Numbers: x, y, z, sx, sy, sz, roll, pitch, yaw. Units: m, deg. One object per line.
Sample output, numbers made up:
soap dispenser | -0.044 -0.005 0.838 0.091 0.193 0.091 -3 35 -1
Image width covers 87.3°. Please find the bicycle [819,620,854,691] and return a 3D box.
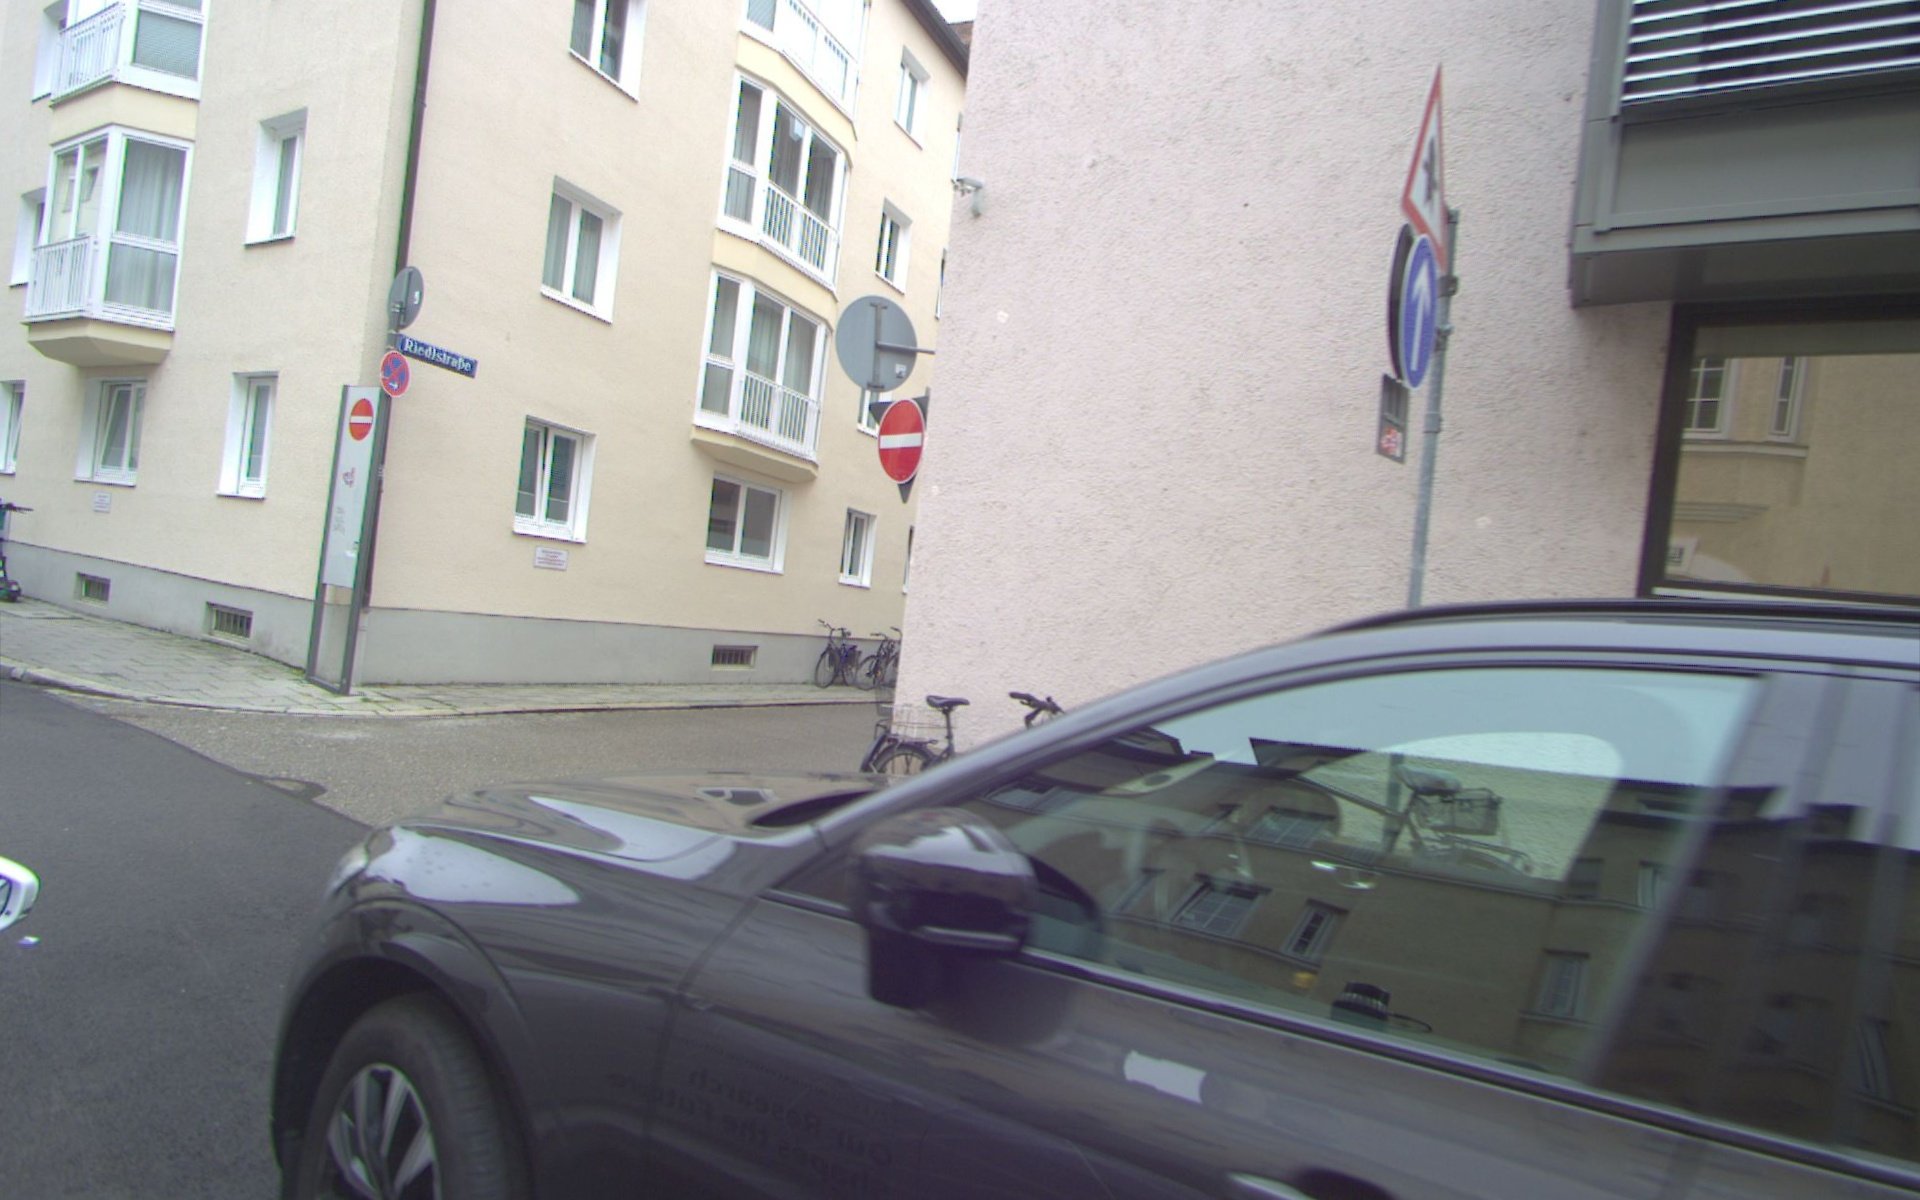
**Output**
bicycle | -2.160 0.951 17.618 0.448 1.100 1.721 7 0 -7

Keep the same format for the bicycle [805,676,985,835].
bicycle | -0.426 1.068 7.281 0.543 0.959 1.451 7 0 27

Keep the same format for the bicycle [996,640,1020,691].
bicycle | 1.164 1.569 24.323 0.447 1.100 1.724 7 0 3

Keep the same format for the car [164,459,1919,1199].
car | 0.771 0.806 1.699 4.338 1.640 1.836 6 -2 31

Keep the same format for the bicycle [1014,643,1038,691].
bicycle | 1.658 1.668 25.410 0.447 1.100 1.724 7 0 3

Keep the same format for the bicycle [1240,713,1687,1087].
bicycle | 2.049 1.164 4.246 1.517 1.136 0.357 7 0 32

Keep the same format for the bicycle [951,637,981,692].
bicycle | 0.152 1.408 22.271 0.447 1.100 1.724 7 0 3

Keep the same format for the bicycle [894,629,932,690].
bicycle | -0.930 1.173 20.219 0.447 1.100 1.724 7 0 3

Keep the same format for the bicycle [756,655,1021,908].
bicycle | -0.426 0.976 5.763 1.335 1.139 0.551 7 0 32

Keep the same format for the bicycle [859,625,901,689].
bicycle | -1.501 1.054 19.080 0.447 1.100 1.724 7 0 3

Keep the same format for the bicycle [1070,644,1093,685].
bicycle | 3.593 1.895 29.766 0.447 1.100 1.724 7 0 3

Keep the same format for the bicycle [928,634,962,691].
bicycle | -0.305 1.305 21.457 0.447 1.100 1.724 7 0 4

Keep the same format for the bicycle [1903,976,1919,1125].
bicycle | 3.969 1.434 3.221 1.248 0.959 0.357 7 0 32

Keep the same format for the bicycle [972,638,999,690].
bicycle | 0.611 1.462 23.415 0.447 1.100 1.724 7 0 3

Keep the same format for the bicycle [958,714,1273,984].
bicycle | 0.746 1.147 4.959 1.335 0.959 0.551 7 0 32

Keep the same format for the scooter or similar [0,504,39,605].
scooter or similar | -12.863 -0.633 13.380 1.118 1.283 0.576 6 2 32
